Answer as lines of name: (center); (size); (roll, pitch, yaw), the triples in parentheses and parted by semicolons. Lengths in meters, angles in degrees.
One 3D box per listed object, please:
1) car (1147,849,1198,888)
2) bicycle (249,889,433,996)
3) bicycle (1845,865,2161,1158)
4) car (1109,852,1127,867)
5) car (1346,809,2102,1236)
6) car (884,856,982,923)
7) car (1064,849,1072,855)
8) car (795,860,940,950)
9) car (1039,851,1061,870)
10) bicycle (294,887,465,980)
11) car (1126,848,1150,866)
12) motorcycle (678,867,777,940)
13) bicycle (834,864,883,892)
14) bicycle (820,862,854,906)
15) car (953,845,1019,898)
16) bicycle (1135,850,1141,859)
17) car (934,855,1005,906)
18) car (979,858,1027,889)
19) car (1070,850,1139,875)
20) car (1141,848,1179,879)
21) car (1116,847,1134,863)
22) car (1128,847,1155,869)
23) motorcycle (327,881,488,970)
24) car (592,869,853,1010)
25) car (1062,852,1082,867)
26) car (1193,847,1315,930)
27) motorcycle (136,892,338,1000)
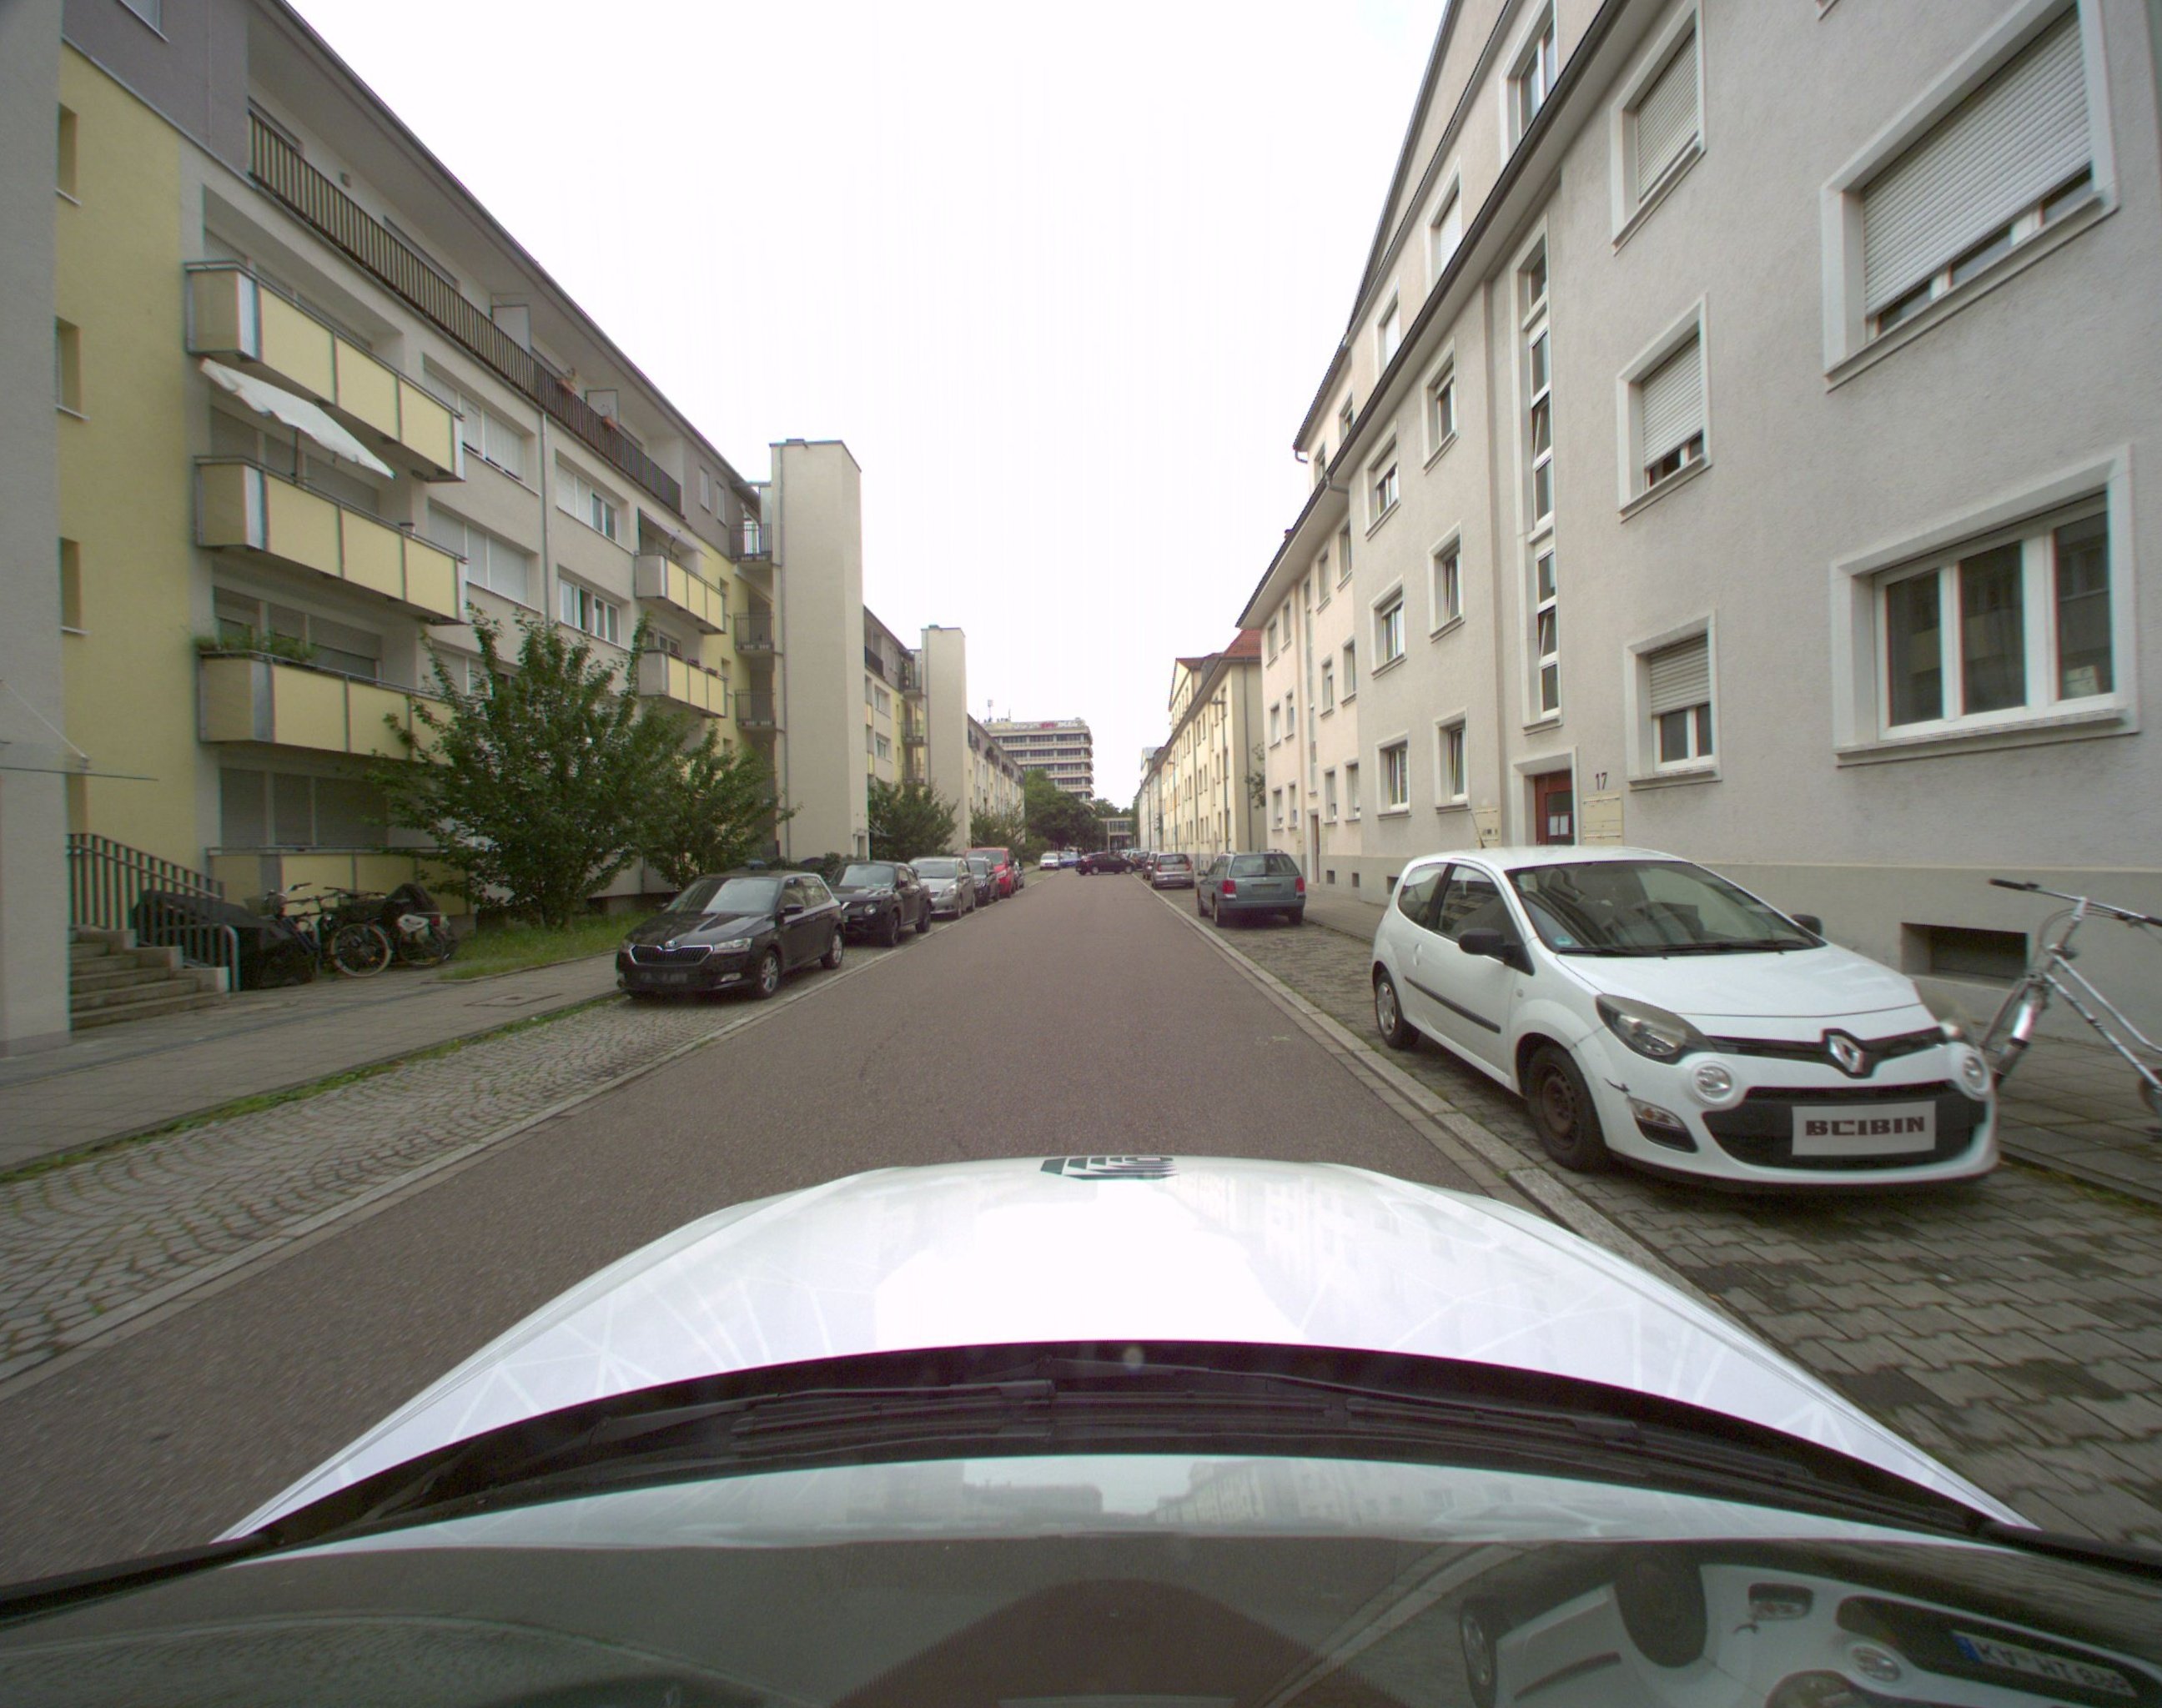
car: (3.739, 0.558, 33.905); (1.719, 1.492, 4.062); (-2, 0, 1)
bicycle: (-9.577, 1.124, 10.584); (1.719, 1.225, 0.608); (-3, 0, -3)
bicycle: (4.674, 0.651, 3.593); (0.603, 1.140, 2.125); (-3, 0, 1)
car: (3.679, 0.541, 82.004); (1.718, 1.476, 4.506); (-1, 0, 2)
car: (3.119, 0.647, 5.080); (1.776, 1.599, 3.807); (-3, 0, 2)
car: (-3.914, 0.873, 22.340); (1.829, 1.570, 4.860); (0, 0, -1)
car: (-3.153, -0.566, 193.138); (1.659, 1.333, 3.397); (-2, 1, 1)
car: (-4.102, 0.923, 16.318); (1.646, 1.530, 3.899); (0, 0, 4)
car: (-2.737, 0.566, 73.449); (1.714, 1.570, 3.871); (0, 0, 1)
bicycle: (-9.629, 1.080, 11.220); (1.719, 1.142, 0.608); (-2, 0, -3)
car: (4.956, 0.232, 71.029); (1.842, 1.450, 3.834); (-2, 0, 2)
motorcycle: (-7.111, 0.957, 16.540); (0.866, 1.307, 2.421); (-1, 0, 2)
bicycle: (-9.260, 0.980, 33.879); (1.829, 1.118, 0.605); (-1, 0, 0)
bicycle: (-7.124, 0.845, 23.844); (0.551, 1.192, 1.725); (-3, 0, -6)
car: (-3.721, 0.628, 32.746); (2.145, 1.954, 4.920); (0, 0, -1)
bicycle: (7.370, 0.041, 105.013); (0.527, 1.175, 2.041); (-3, 0, 8)
car: (-3.677, 0.827, 27.496); (1.714, 1.570, 4.055); (0, 0, 1)
car: (-3.650, 0.893, 38.806); (1.864, 1.323, 4.361); (-1, 0, 0)
car: (1.569, 0.543, 54.340); (4.248, 1.432, 1.890); (-3, 0, -32)
car: (4.225, 0.486, 44.160); (1.719, 1.517, 4.062); (-3, 0, 1)
car: (4.849, 0.082, 90.056); (1.813, 1.642, 4.093); (-3, 0, 2)
car: (4.464, 0.272, 60.576); (1.719, 1.517, 4.062); (-3, 0, 1)
motorcycle: (-9.764, 1.023, 11.847); (1.744, 1.129, 0.593); (-3, 0, -3)
car: (-4.424, 0.964, 10.749); (1.637, 1.438, 3.858); (0, 0, 1)
car: (-0.913, 0.533, 84.736); (1.838, 1.451, 4.504); (-2, 0, 3)
car: (3.499, 0.630, 17.245); (1.719, 1.469, 4.265); (-3, 0, 1)
motorcycle: (-10.166, 1.088, 9.850); (1.611, 1.129, 0.690); (-3, 0, -3)
